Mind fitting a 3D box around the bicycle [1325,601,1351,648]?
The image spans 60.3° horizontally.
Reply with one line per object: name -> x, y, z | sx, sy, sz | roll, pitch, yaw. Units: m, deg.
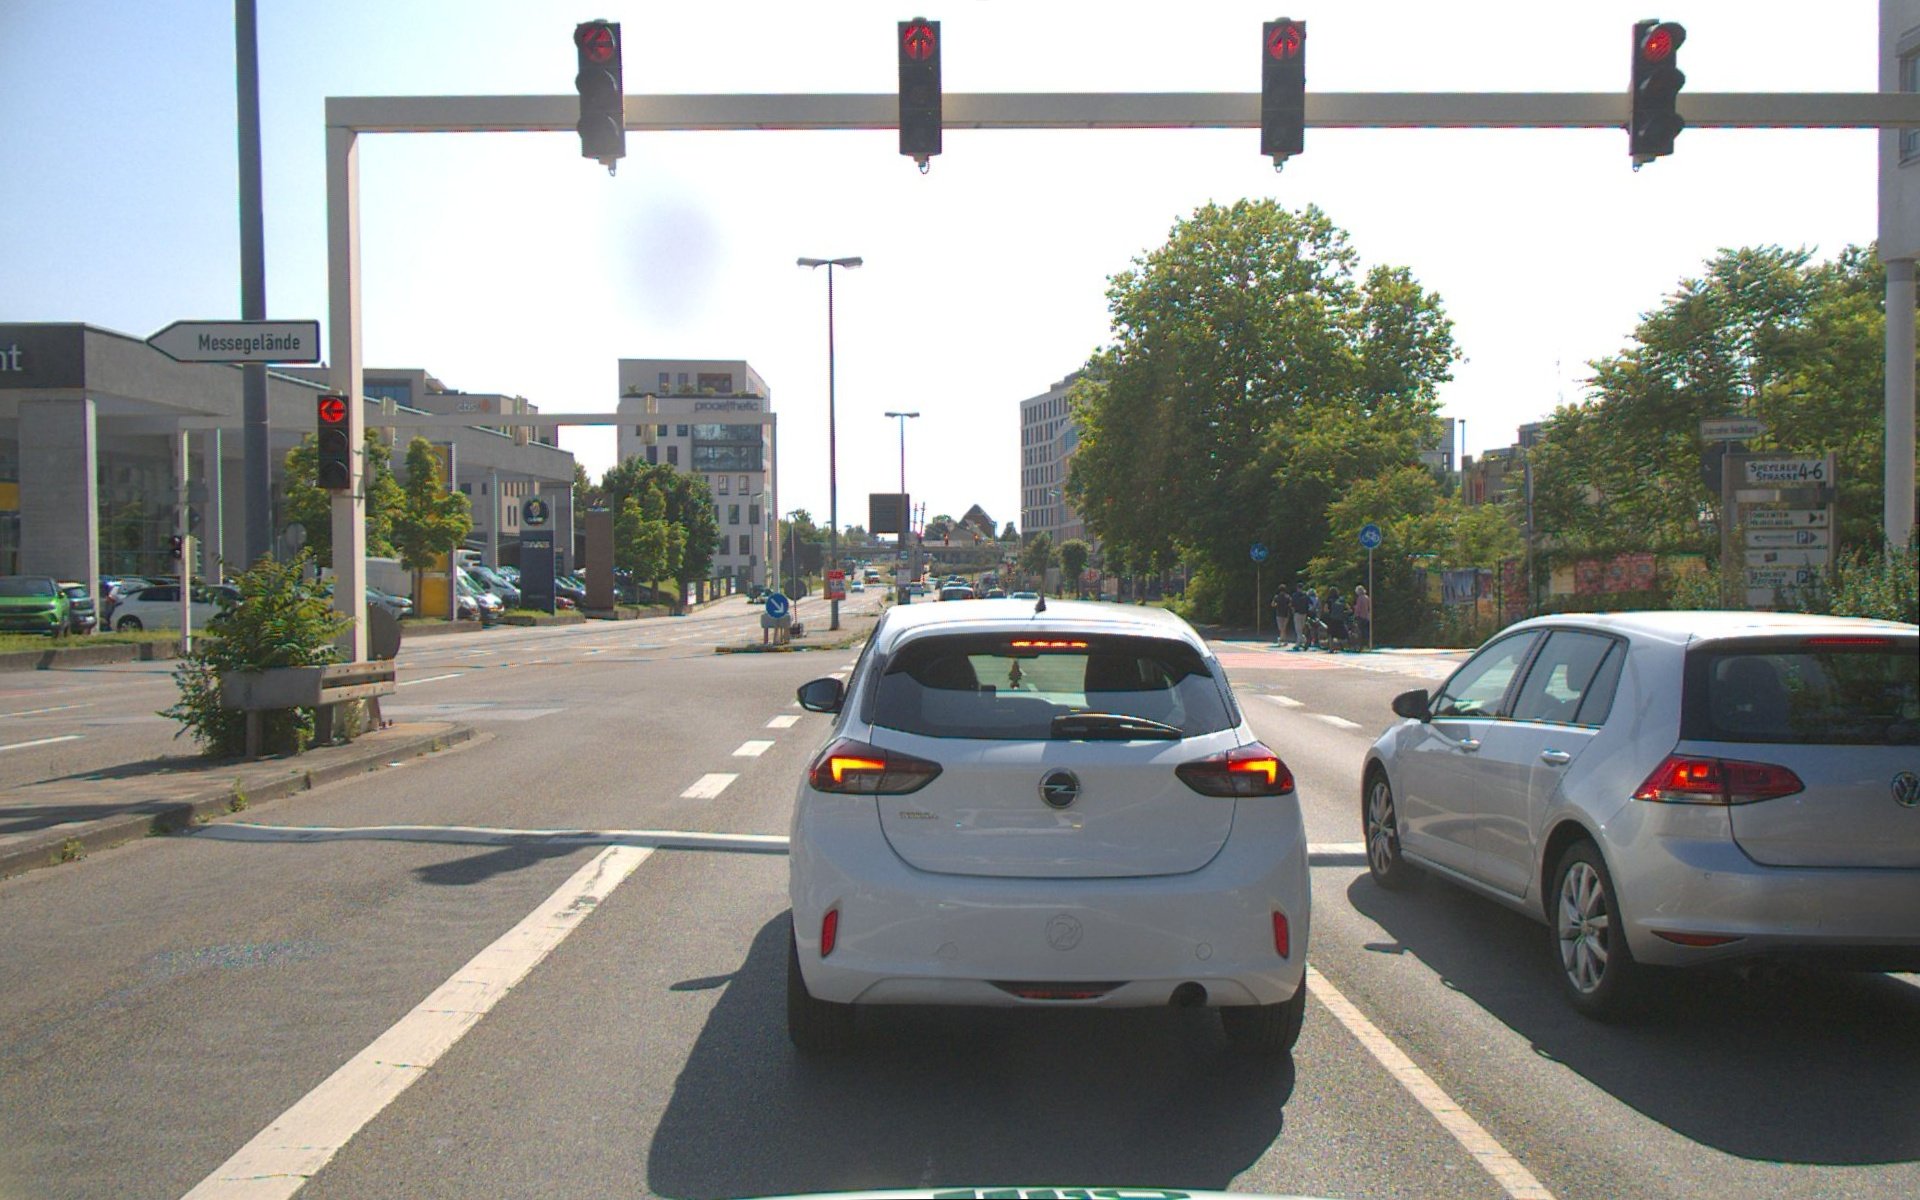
bicycle -> 9.681, 0.623, 42.358 | 0.366, 1.167, 1.034 | 1, -1, -3

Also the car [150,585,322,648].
car -> -21.435, 0.462, 49.082 | 4.211, 1.796, 1.999 | -1, 0, -4

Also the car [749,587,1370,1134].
car -> 0.251, 0.718, 6.660 | 1.743, 1.520, 3.999 | 0, 0, -1

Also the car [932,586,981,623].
car -> -0.154, 0.183, 65.539 | 1.770, 1.410, 3.998 | -1, 0, -3

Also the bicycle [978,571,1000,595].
bicycle -> 2.697, -1.588, 155.101 | 1.953, 2.195, 3.999 | 0, 0, -1

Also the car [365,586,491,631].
car -> -21.020, 0.341, 65.425 | 4.264, 1.726, 2.002 | -1, 0, 7

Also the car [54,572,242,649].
car -> -20.701, 0.248, 42.304 | 3.793, 1.870, 1.999 | -1, 0, -4

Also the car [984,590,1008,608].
car -> 2.804, -0.073, 129.442 | 1.769, 1.410, 3.999 | 1, 0, -1

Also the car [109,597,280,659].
car -> -21.417, 0.763, 46.403 | 3.912, 1.627, 1.997 | 0, 0, -8

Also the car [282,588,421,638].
car -> -21.898, 0.449, 59.625 | 4.270, 1.726, 1.999 | -1, 0, -4

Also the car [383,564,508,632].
car -> -21.089, -0.083, 67.872 | 4.401, 2.731, 2.130 | 0, 0, 8

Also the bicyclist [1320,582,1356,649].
bicyclist -> 9.673, 0.390, 42.350 | 0.675, 1.672, 0.775 | 0, 0, -9

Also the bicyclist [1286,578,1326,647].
bicyclist -> 9.204, 0.319, 44.064 | 0.861, 1.803, 0.863 | 0, 0, -1

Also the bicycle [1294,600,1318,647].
bicycle -> 9.213, 0.614, 44.029 | 0.365, 1.238, 1.153 | 1, 0, -1

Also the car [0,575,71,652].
car -> -22.534, 0.344, 39.411 | 1.887, 1.764, 3.250 | -1, -1, -37

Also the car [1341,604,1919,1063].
car -> 3.089, 0.753, 7.336 | 1.771, 1.454, 3.999 | 0, 0, -2

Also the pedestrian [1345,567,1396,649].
pedestrian -> 10.414, 0.192, 42.000 | 1.006, 2.049, 1.038 | 0, 0, -1

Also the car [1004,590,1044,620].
car -> 3.186, 0.248, 82.807 | 1.769, 1.410, 3.999 | 1, 0, -1

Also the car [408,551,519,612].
car -> -21.930, -0.820, 73.171 | 4.265, 2.646, 2.001 | 0, 0, 4

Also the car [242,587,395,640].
car -> -20.980, 0.429, 54.229 | 4.270, 1.726, 1.999 | 0, 0, -3

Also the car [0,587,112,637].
car -> -26.233, 0.363, 45.994 | 4.276, 1.290, 1.996 | -2, -1, -9

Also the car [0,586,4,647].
car -> -27.523, 0.472, 42.849 | 4.276, 1.618, 1.996 | -1, 0, -9

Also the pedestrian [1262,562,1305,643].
pedestrian -> 9.229, 0.065, 47.237 | 1.006, 2.277, 1.038 | 0, 0, -1
